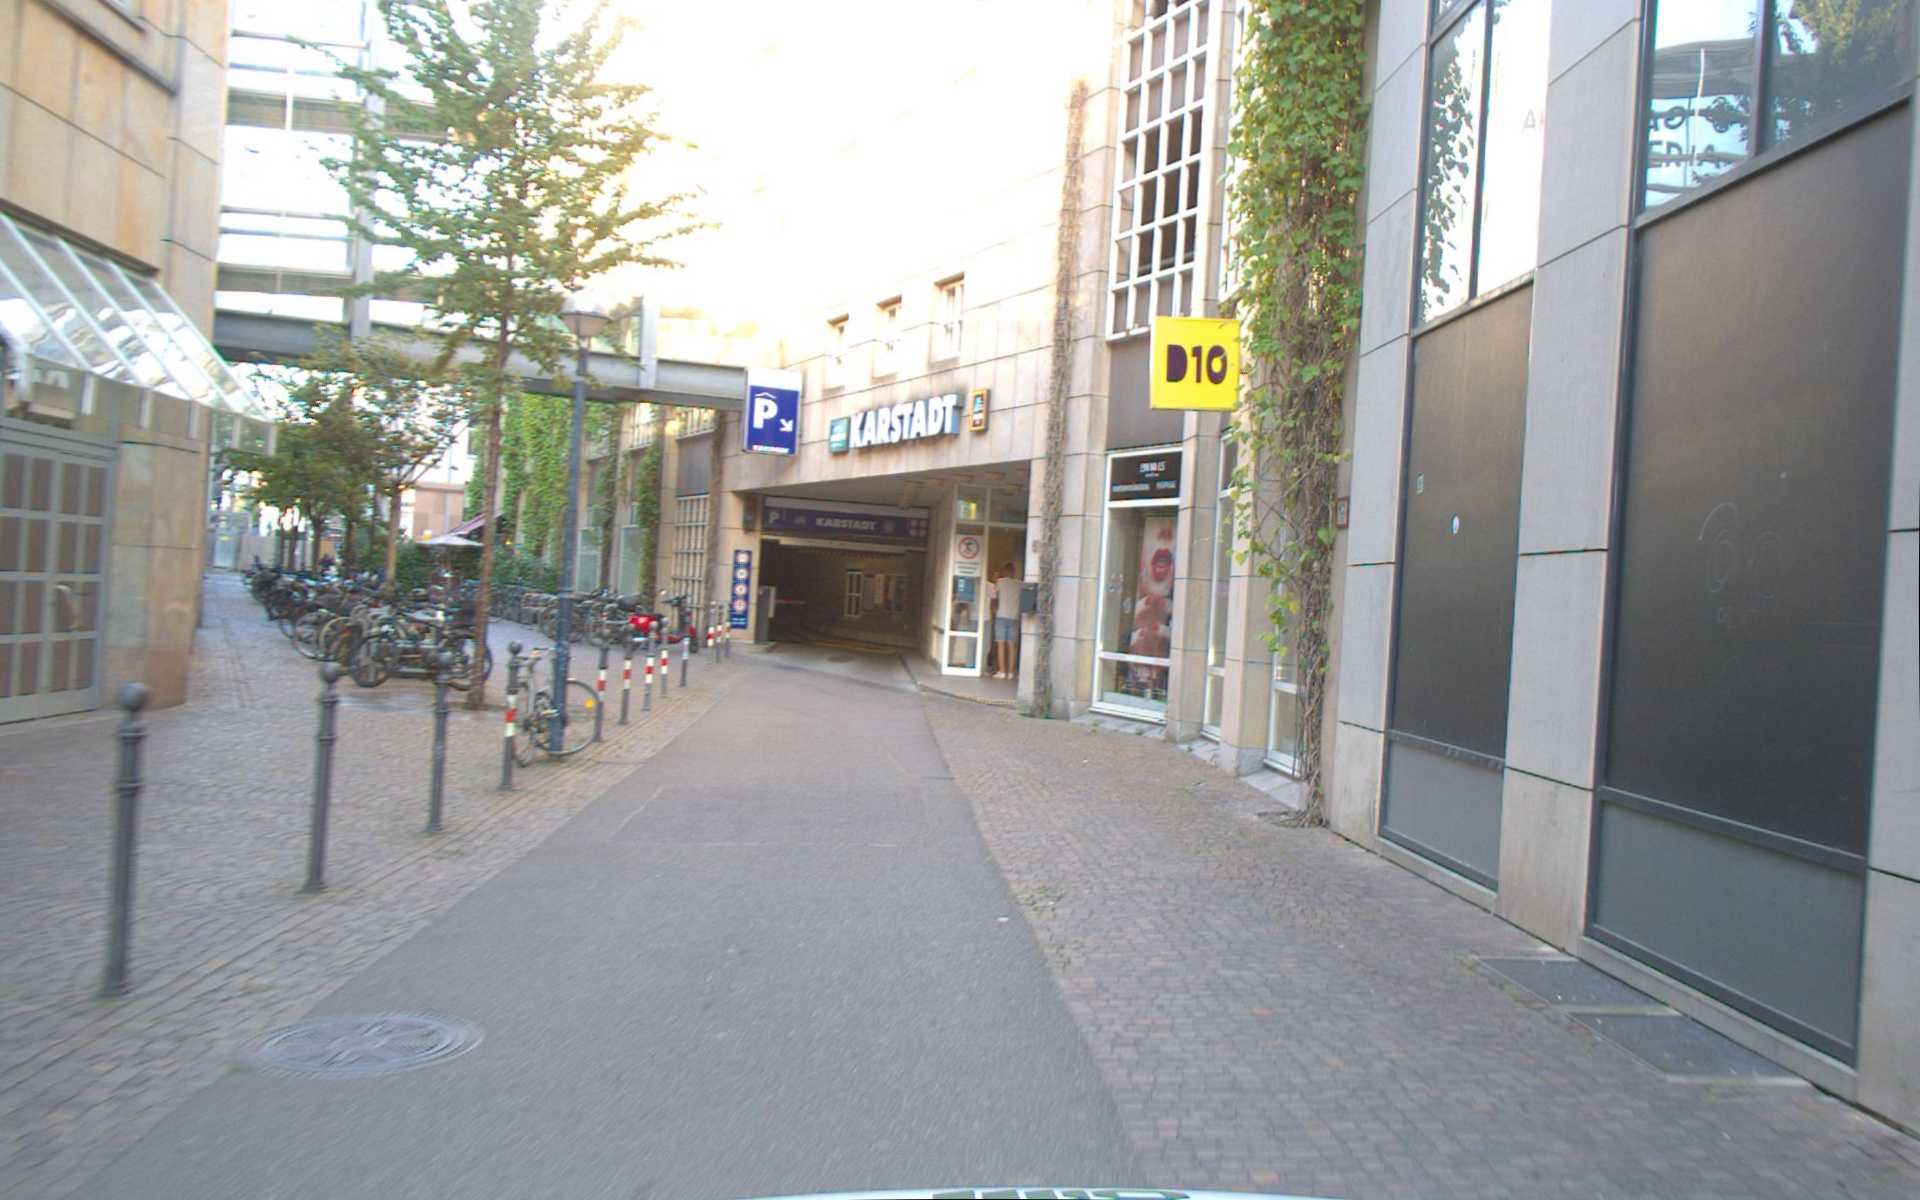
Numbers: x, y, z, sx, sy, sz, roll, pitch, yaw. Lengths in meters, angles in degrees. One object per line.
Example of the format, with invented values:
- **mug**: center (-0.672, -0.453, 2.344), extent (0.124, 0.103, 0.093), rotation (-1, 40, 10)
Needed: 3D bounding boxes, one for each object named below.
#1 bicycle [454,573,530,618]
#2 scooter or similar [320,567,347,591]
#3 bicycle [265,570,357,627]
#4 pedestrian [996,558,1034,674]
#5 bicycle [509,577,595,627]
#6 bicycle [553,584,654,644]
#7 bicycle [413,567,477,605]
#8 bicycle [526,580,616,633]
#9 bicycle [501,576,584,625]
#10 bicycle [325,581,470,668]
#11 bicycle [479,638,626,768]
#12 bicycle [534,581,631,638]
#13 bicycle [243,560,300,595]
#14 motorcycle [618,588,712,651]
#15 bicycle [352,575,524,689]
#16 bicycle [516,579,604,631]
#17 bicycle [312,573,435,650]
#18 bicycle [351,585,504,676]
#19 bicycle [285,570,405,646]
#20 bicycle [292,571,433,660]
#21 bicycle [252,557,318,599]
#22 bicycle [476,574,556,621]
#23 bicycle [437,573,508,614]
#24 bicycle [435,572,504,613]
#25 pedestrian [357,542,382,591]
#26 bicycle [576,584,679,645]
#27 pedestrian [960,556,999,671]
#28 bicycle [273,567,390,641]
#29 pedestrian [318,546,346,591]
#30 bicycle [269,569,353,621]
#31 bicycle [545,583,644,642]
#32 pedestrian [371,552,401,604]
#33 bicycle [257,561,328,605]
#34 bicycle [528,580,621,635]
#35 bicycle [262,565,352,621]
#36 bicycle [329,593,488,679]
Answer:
- **bicycle**: center (-13.110, -0.121, 46.367), extent (1.967, 1.203, 0.689), rotation (1, 1, -23)
- **scooter or similar**: center (-23.967, -0.806, 63.244), extent (0.880, 0.858, 0.904), rotation (3, 0, -25)
- **bicycle**: center (-14.883, -0.036, 37.967), extent (1.885, 1.203, 0.692), rotation (3, 0, -21)
- **pedestrian**: center (0.916, 0.259, 27.478), extent (0.531, 1.893, 0.408), rotation (3, 1, 3)
- **bicycle**: center (-10.186, 0.056, 41.304), extent (1.967, 1.203, 0.689), rotation (1, 1, -23)
- **bicycle**: center (-7.520, 0.300, 34.896), extent (1.967, 1.203, 0.691), rotation (1, 1, -23)
- **bicycle**: center (-17.192, -0.456, 55.256), extent (1.967, 1.203, 0.689), rotation (1, 1, -23)
- **bicycle**: center (-9.234, 0.150, 39.245), extent (1.967, 1.203, 0.689), rotation (1, 1, -23)
- **bicycle**: center (-10.683, 0.011, 42.346), extent (1.967, 1.203, 0.689), rotation (1, 1, -23)
- **bicycle**: center (-8.026, 0.352, 23.633), extent (1.885, 1.121, 0.692), rotation (3, 0, -21)
- **bicycle**: center (-3.428, 0.840, 14.059), extent (0.494, 0.983, 1.696), rotation (3, 0, 11)
- **bicycle**: center (-8.410, 0.215, 36.854), extent (1.967, 1.203, 0.797), rotation (1, 1, -23)
- **bicycle**: center (-25.973, -0.866, 62.410), extent (1.885, 1.203, 0.692), rotation (3, 0, -21)
- **motorcycle**: center (-5.798, 0.382, 32.472), extent (1.720, 1.175, 0.591), rotation (1, 1, -21)
- **bicycle**: center (-6.379, 0.391, 20.219), extent (1.887, 1.282, 0.803), rotation (3, 0, -24)
- **bicycle**: center (-9.702, 0.116, 40.098), extent (1.967, 1.203, 0.689), rotation (1, 1, -23)
- **bicycle**: center (-9.954, 0.193, 28.106), extent (1.885, 1.203, 0.692), rotation (3, 0, -21)
- **bicycle**: center (-7.241, 0.421, 22.497), extent (1.887, 1.121, 0.691), rotation (3, 0, -24)
- **bicycle**: center (-10.694, 0.143, 28.797), extent (1.885, 1.203, 0.692), rotation (3, 0, -21)
- **bicycle**: center (-8.826, 0.236, 24.482), extent (1.885, 1.203, 0.692), rotation (3, 0, -21)
- **bicycle**: center (-21.621, -0.705, 53.025), extent (1.885, 1.203, 0.692), rotation (3, 0, -21)
- **bicycle**: center (-11.967, -0.059, 44.583), extent (1.967, 1.203, 0.689), rotation (1, 1, -23)
- **bicycle**: center (-14.773, -0.201, 50.110), extent (1.967, 1.203, 0.689), rotation (1, 1, -23)
- **bicycle**: center (-15.088, -0.236, 50.901), extent (1.967, 1.203, 0.689), rotation (1, 1, -23)
- **pedestrian**: center (-22.519, -1.287, 63.046), extent (0.755, 1.836, 0.771), rotation (3, 0, -25)
- **bicycle**: center (-6.840, 0.292, 34.080), extent (1.967, 1.203, 0.691), rotation (1, 1, -23)
- **pedestrian**: center (0.327, 0.218, 27.676), extent (0.531, 1.878, 0.408), rotation (3, 1, 3)
- **bicycle**: center (-11.307, 0.072, 29.799), extent (1.885, 1.203, 0.692), rotation (3, 0, -21)
- **pedestrian**: center (-24.322, -1.213, 64.086), extent (0.880, 1.668, 0.904), rotation (3, 0, -25)
- **bicycle**: center (-16.271, -0.119, 41.526), extent (1.885, 1.203, 0.692), rotation (3, 0, -21)
- **bicycle**: center (-7.903, 0.273, 35.753), extent (1.967, 1.203, 0.797), rotation (1, 1, -23)
- **pedestrian**: center (-17.439, -0.657, 50.220), extent (0.738, 1.535, 0.633), rotation (3, 0, -25)
- **bicycle**: center (-19.826, -0.514, 49.165), extent (1.885, 1.203, 0.692), rotation (3, 0, -21)
- **bicycle**: center (-8.923, 0.171, 38.277), extent (1.967, 1.203, 0.797), rotation (1, 1, -23)
- **bicycle**: center (-15.278, -0.163, 38.749), extent (1.885, 1.203, 0.692), rotation (3, 0, -21)
- **bicycle**: center (-7.192, 0.475, 21.580), extent (1.887, 1.011, 0.691), rotation (3, 0, -24)
